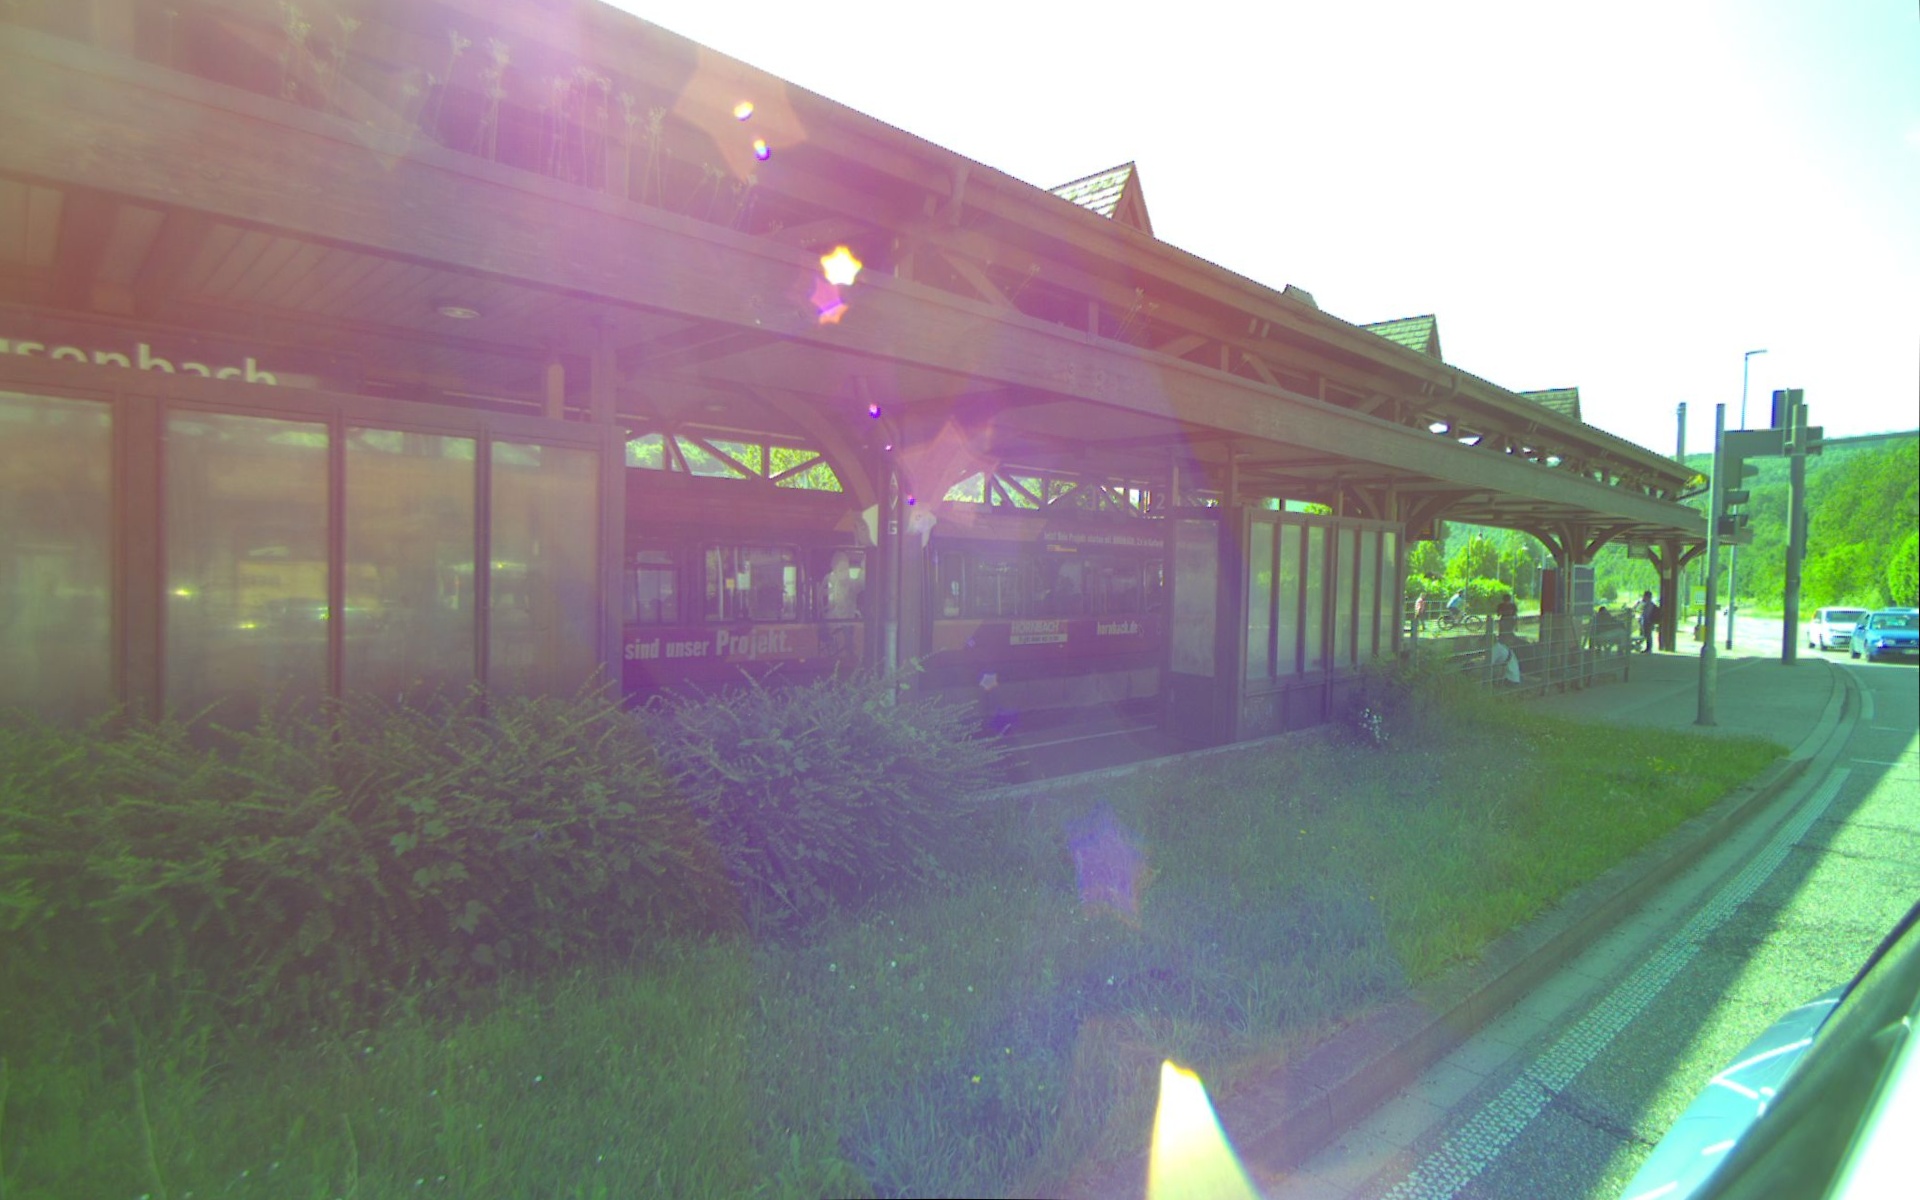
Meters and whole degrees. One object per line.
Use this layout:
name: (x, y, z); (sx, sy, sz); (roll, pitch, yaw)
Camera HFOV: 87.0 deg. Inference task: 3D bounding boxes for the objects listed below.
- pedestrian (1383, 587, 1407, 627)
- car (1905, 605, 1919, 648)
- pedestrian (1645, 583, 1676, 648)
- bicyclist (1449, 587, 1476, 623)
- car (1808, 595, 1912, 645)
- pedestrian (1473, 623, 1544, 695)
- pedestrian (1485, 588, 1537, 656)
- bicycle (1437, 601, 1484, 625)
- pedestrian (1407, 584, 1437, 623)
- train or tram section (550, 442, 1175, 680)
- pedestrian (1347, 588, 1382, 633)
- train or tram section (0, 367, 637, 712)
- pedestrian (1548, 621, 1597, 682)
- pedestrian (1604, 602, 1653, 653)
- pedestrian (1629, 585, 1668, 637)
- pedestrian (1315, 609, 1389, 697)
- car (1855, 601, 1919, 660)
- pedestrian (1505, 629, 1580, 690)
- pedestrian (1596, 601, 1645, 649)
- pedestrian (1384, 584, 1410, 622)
pedestrian: (18.603, 0.306, 43.298); (0.895, 1.706, 0.814); (0, -2, 27)
car: (35.300, 0.959, 35.710); (1.966, 1.523, 4.695); (0, -1, 32)
pedestrian: (19.160, 0.415, 27.672); (0.655, 1.713, 0.730); (2, 1, 36)
bicyclist: (22.542, 0.220, 45.388); (0.933, 1.589, 0.783); (-1, -1, 16)
car: (30.998, 0.667, 34.972); (1.984, 1.605, 3.954); (-1, -1, 32)
pedestrian: (7.950, 0.836, 14.659); (0.742, 0.995, 0.757); (-1, -2, 43)
pedestrian: (13.298, 0.523, 24.410); (0.861, 1.567, 0.908); (2, 0, 44)
bicycle: (22.451, 0.599, 45.393); (1.788, 1.069, 0.601); (0, -1, 16)
pedestrian: (20.515, 0.183, 44.943); (0.805, 1.706, 0.905); (1, -2, -14)
train or tram section: (-0.737, -0.581, 20.553); (2.857, 3.407, 14.123); (1, 0, 44)
pedestrian: (17.299, 0.434, 43.256); (1.054, 1.867, 0.989); (3, -2, -41)
train or tram section: (-9.898, -0.596, 11.534); (11.846, 3.407, 2.789); (-1, 0, -43)
pedestrian: (10.128, 0.842, 16.743); (0.617, 0.978, 0.400); (-1, -2, 43)
pedestrian: (16.489, 0.671, 24.970); (0.988, 1.251, 0.588); (-1, -2, 36)
pedestrian: (23.959, 0.386, 35.214); (0.913, 1.759, 1.232); (-1, -2, 43)
pedestrian: (5.281, 0.697, 13.634); (0.742, 1.131, 0.657); (-1, -2, 43)
car: (26.347, 0.799, 27.936); (1.854, 1.501, 4.250); (2, 1, 34)
pedestrian: (8.953, 0.891, 15.547); (0.844, 0.885, 0.795); (-1, -2, 43)
pedestrian: (17.033, 0.631, 26.088); (1.003, 1.174, 0.936); (1, 1, 36)
pedestrian: (19.700, 0.135, 45.660); (0.865, 1.706, 0.809); (-1, -2, 43)
